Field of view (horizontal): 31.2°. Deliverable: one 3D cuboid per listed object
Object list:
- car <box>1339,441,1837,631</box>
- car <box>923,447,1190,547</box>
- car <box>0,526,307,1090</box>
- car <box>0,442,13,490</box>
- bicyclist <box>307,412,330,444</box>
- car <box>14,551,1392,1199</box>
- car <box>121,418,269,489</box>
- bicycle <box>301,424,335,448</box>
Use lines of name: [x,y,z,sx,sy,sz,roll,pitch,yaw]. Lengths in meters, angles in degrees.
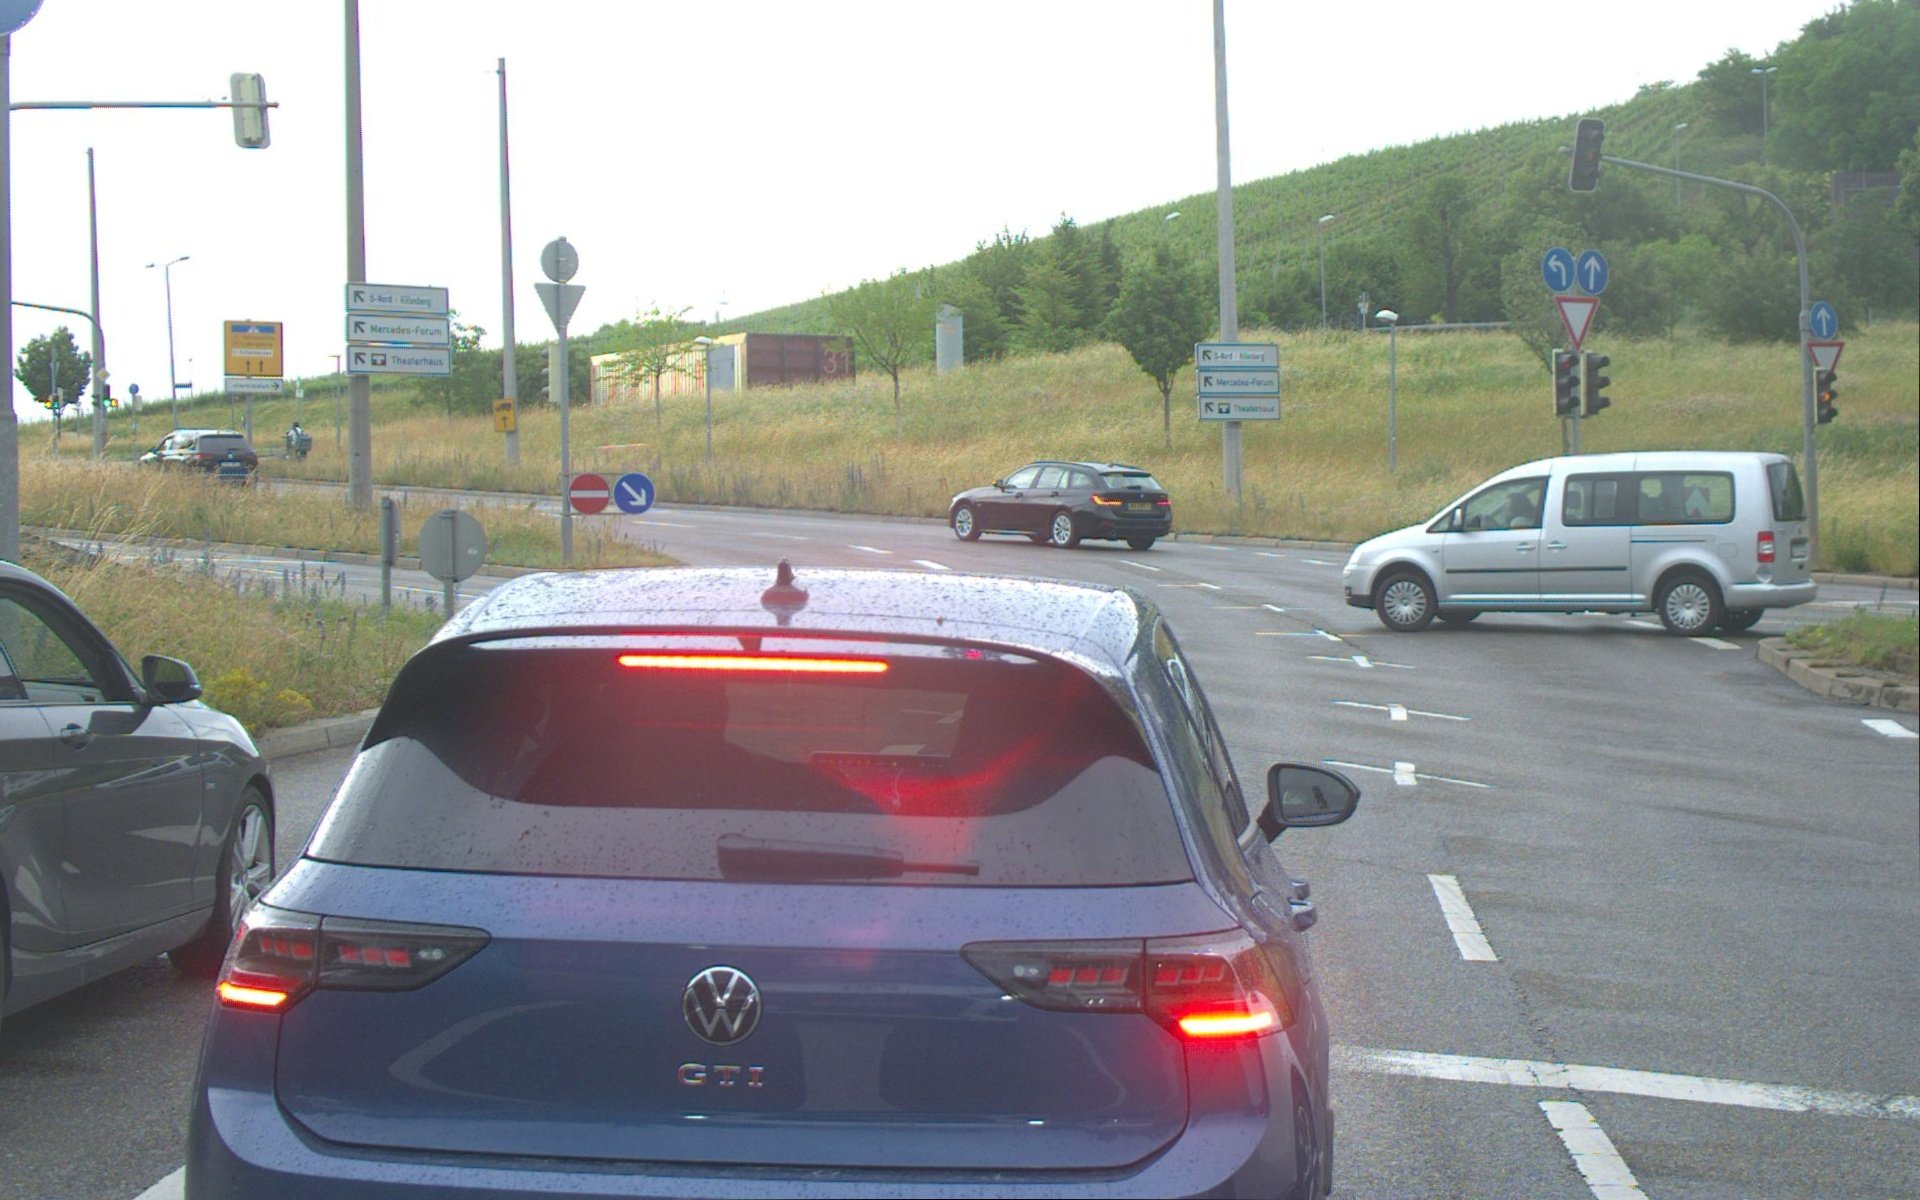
car: [6.407,-0.676,35.202,4.690,1.843,1.819,1,2,28]
car: [1.594,-1.771,58.643,1.994,1.612,4.851,0,2,-36]
car: [-3.261,0.522,9.762,1.703,1.454,4.114,0,1,5]
car: [-31.319,-4.166,107.255,1.994,1.472,4.502,1,0,-36]
bicyclist: [-21.731,-5.836,116.487,0.523,1.043,0.580,3,1,-35]
car: [-0.197,0.648,6.422,1.825,1.455,3.808,0,1,5]
car: [-19.443,-3.686,87.292,1.994,1.631,4.420,1,0,-37]
bicycle: [-21.752,-5.554,116.502,0.518,0.772,1.621,2,1,-33]
